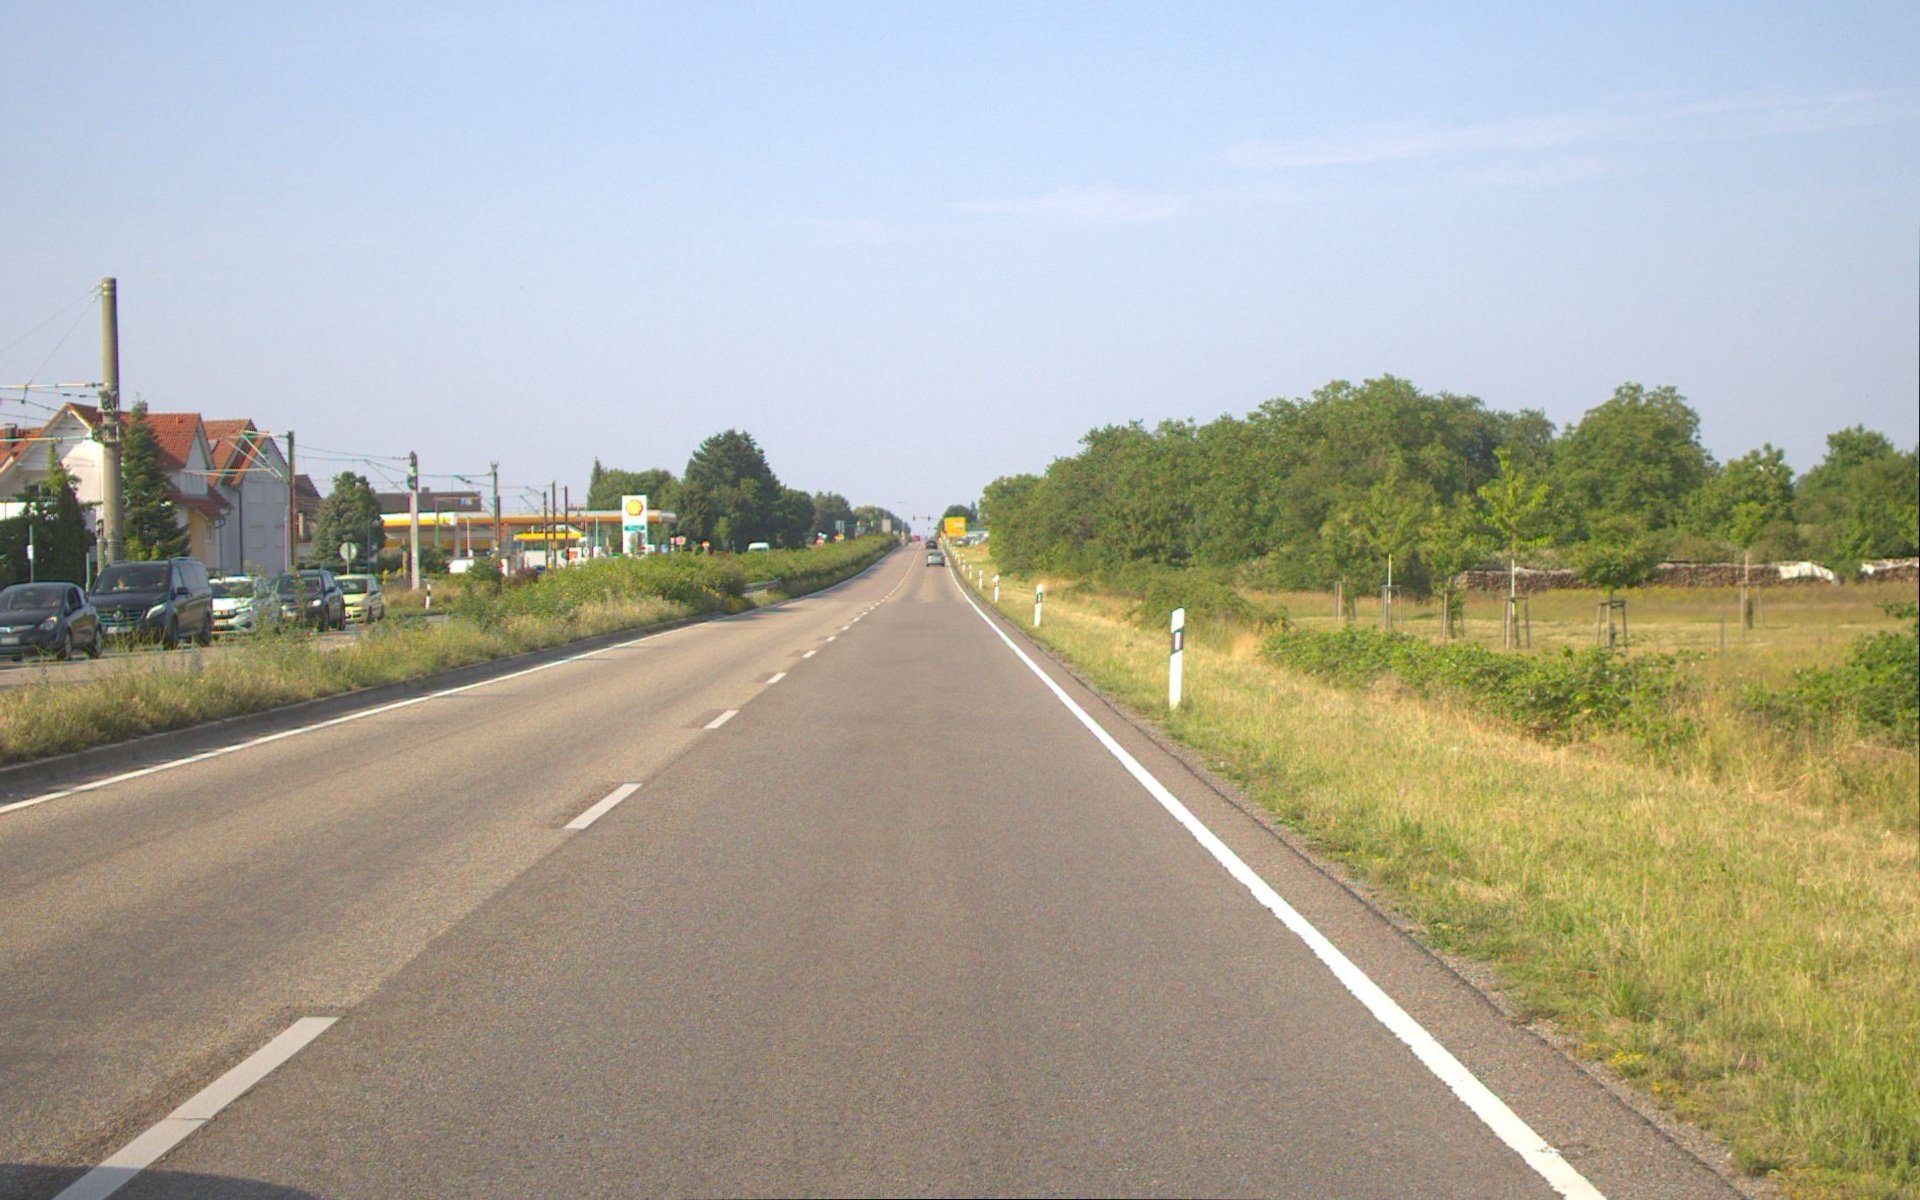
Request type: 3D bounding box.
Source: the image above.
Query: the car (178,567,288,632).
[{"bbox_3d":[-17.197,-0.043,81.517,1.660,1.426,4.449,-2,1,-1],"label":"car"}]

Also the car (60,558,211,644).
[{"bbox_3d":[-17.347,-0.012,72.607,1.915,1.677,5.254,-2,1,-1],"label":"car"}]

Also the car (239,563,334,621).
[{"bbox_3d":[-17.809,-0.231,91.058,1.660,1.426,4.326,-2,1,-1],"label":"car"}]

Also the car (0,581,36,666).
[{"bbox_3d":[-17.029,0.433,57.921,1.660,1.426,4.717,-2,1,-1],"label":"car"}]

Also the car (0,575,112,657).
[{"bbox_3d":[-17.252,0.280,64.503,1.660,1.426,4.057,-2,1,-1],"label":"car"}]

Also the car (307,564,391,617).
[{"bbox_3d":[-17.833,-0.297,100.496,1.660,1.426,4.326,-2,1,-1],"label":"car"}]
